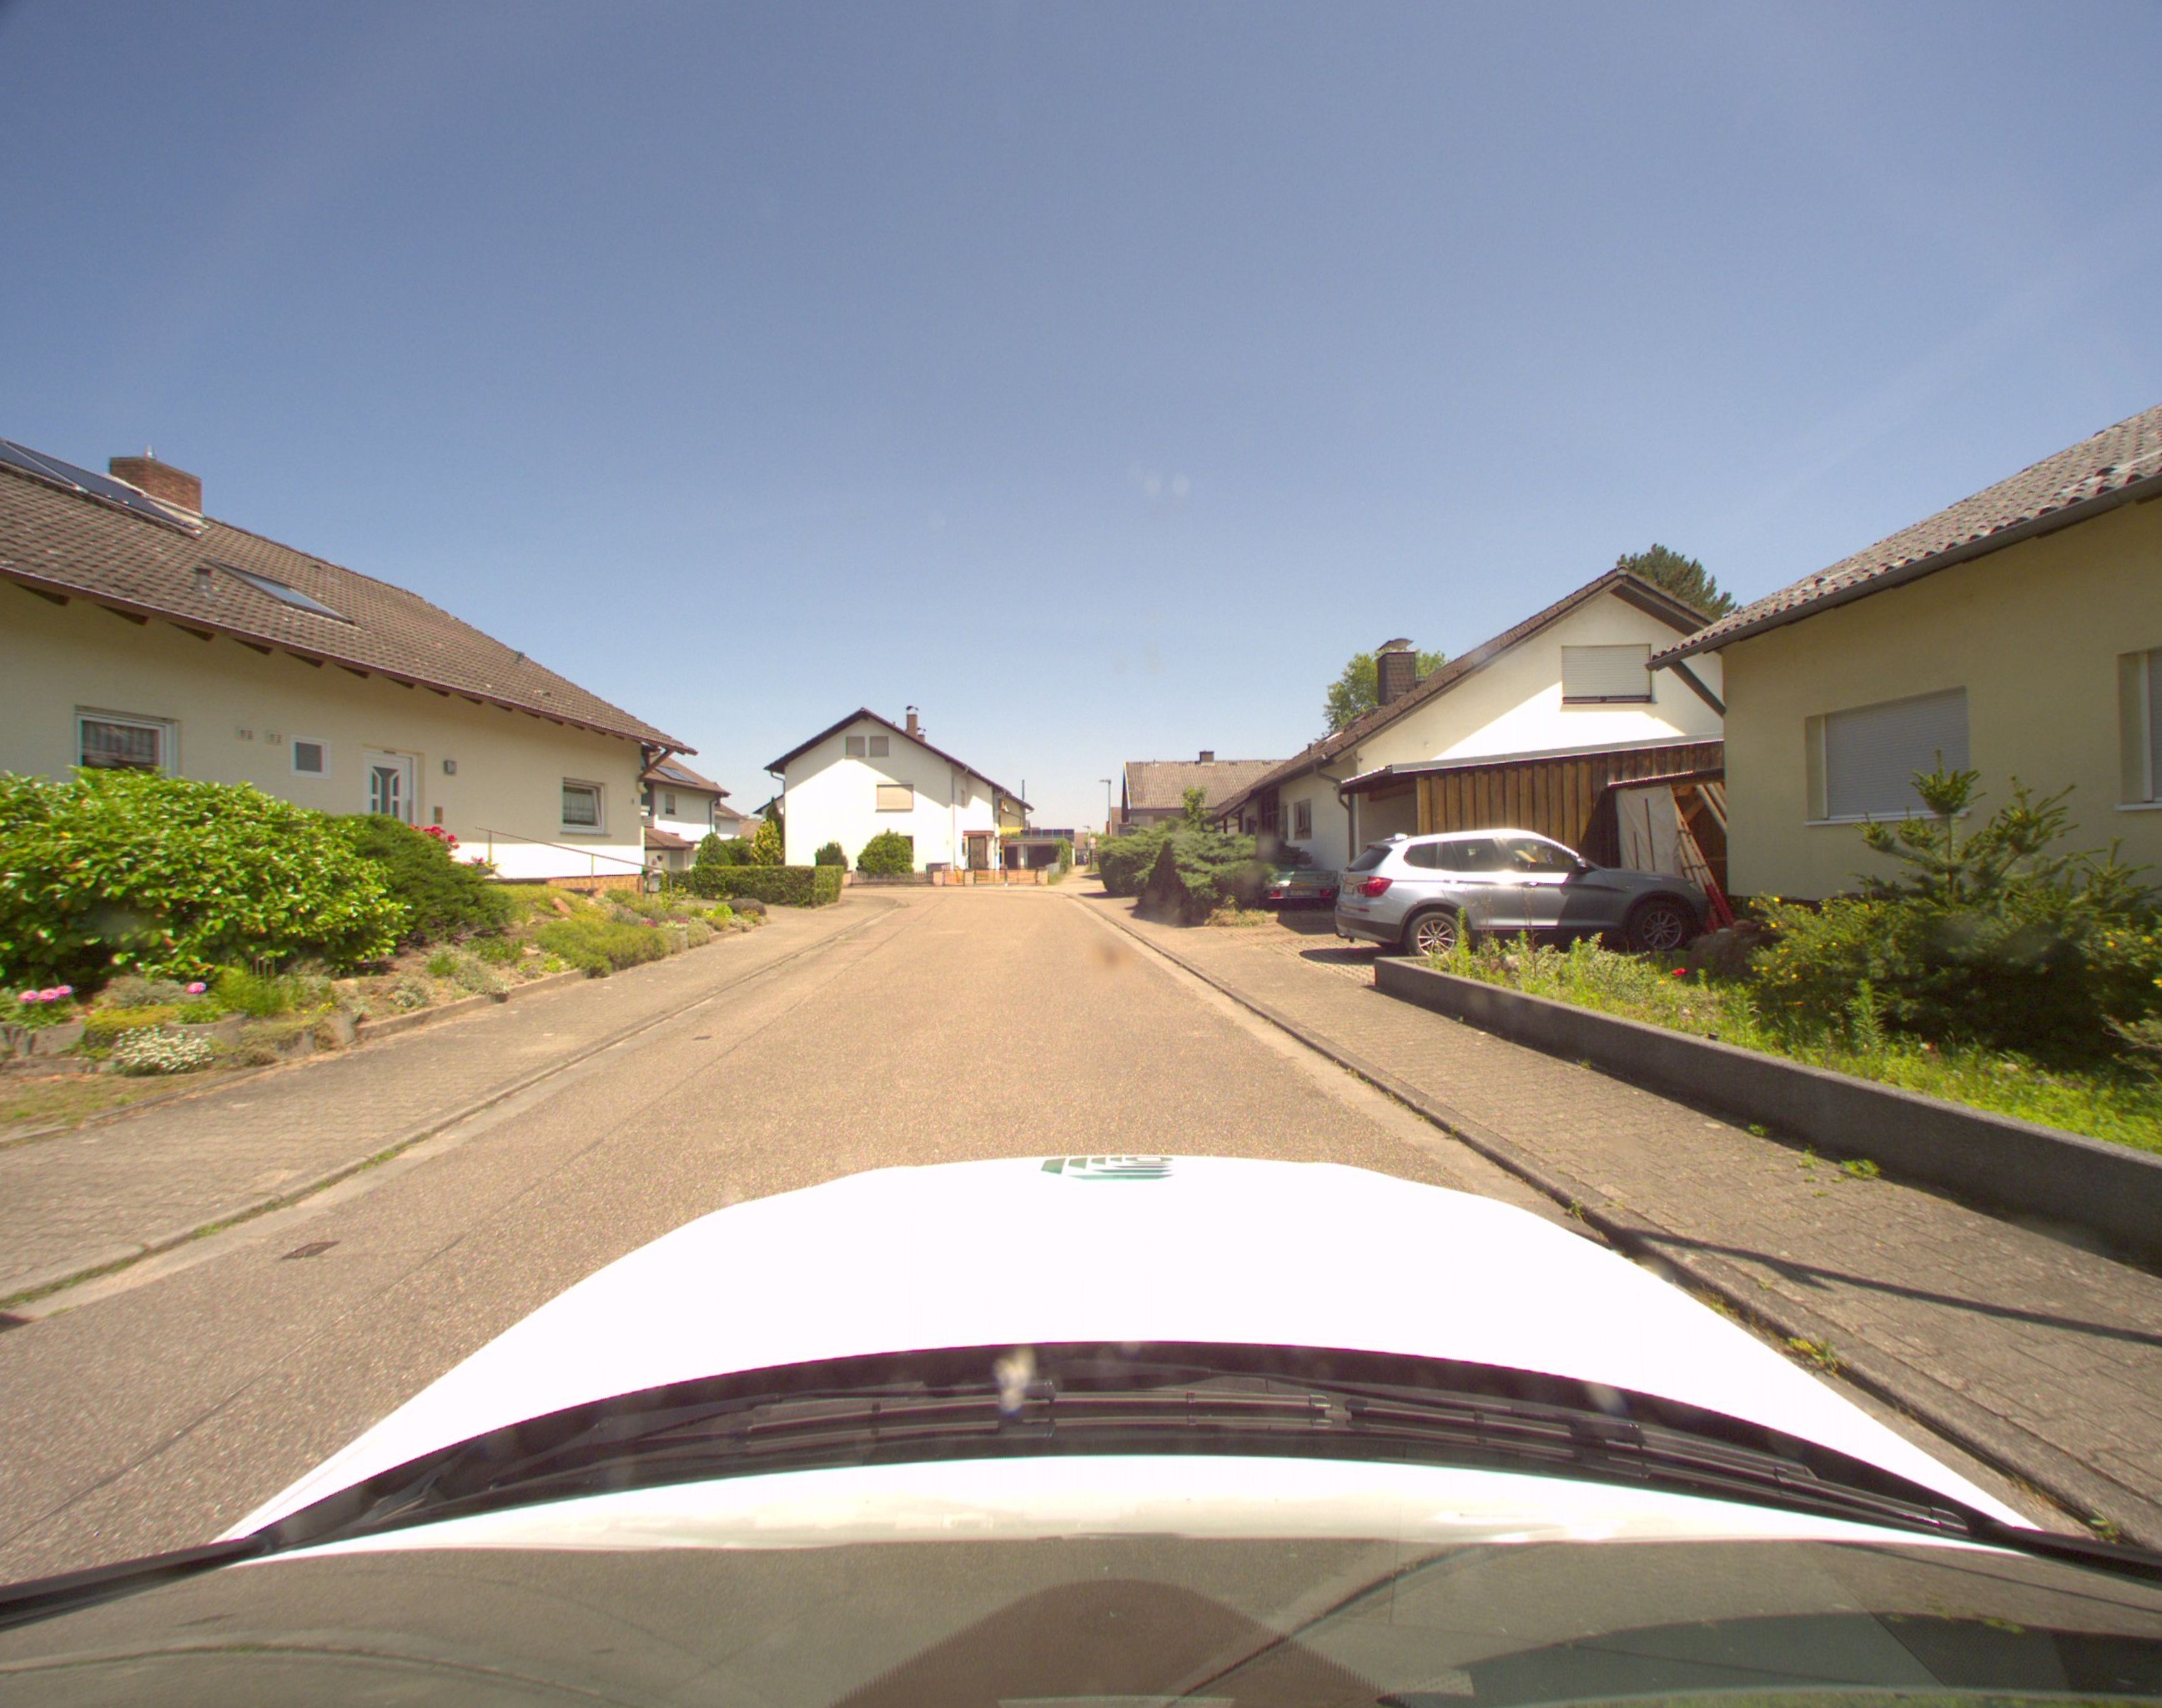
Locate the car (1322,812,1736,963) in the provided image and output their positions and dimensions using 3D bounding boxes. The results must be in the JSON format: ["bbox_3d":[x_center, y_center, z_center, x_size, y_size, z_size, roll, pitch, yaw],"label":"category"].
[{"bbox_3d":[5.845,0.430,11.089,4.607,1.702,1.711,-3,0,3],"label":"car"}]

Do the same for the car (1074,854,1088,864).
[{"bbox_3d":[-0.013,0.851,136.824,2.185,1.701,3.808,-1,0,1],"label":"car"}]

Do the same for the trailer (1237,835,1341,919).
[{"bbox_3d":[4.664,0.464,18.681,1.581,1.672,3.298,-3,0,2],"label":"trailer"}]
